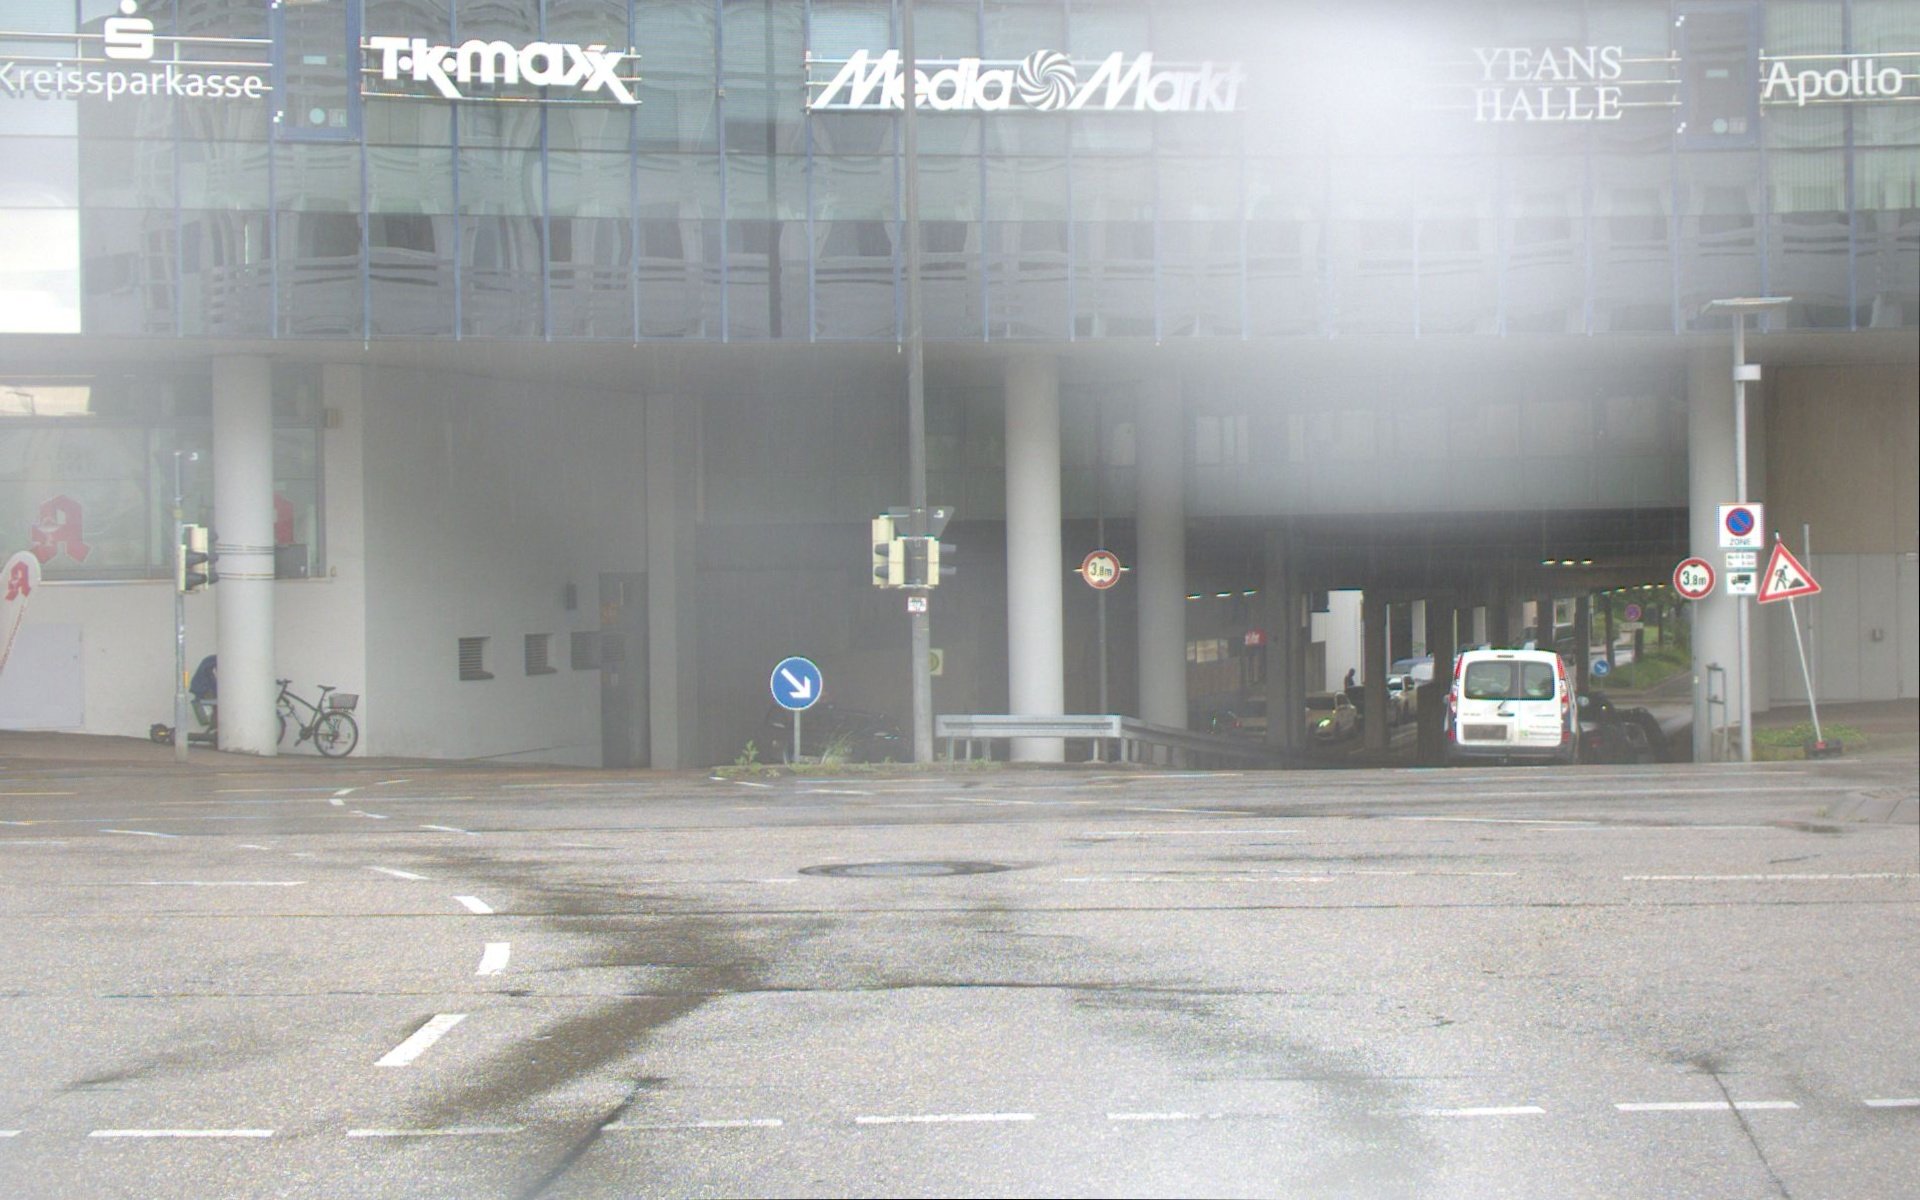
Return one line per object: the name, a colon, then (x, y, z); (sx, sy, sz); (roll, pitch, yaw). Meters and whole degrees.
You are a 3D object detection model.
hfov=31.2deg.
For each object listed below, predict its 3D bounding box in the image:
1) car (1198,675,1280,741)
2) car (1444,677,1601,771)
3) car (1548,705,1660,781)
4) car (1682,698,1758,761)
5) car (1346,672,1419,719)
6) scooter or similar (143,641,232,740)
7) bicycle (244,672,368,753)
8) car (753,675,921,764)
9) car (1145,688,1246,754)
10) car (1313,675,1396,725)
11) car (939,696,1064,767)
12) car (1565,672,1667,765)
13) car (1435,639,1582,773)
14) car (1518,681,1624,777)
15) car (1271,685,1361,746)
car: (7.828, 2.999, 96.097); (1.837, 1.722, 3.998); (-1, 0, 11)
car: (9.242, 2.060, 56.307); (1.759, 1.459, 3.938); (-2, -3, 21)
car: (12.374, 2.762, 65.899); (1.781, 1.396, 3.996); (-1, -3, 15)
car: (20.119, 3.397, 90.908); (1.889, 1.486, 3.838); (1, 0, 13)
car: (14.090, 3.166, 114.605); (1.994, 1.459, 3.998); (-1, 0, 13)
scooter or similar: (-10.836, 1.270, 48.216); (1.166, 1.368, 0.489); (1, 0, -15)
bicycle: (-9.265, 1.596, 48.716); (1.581, 1.014, 0.452); (6, -2, -31)
car: (-2.195, 2.198, 62.503); (1.894, 1.465, 4.023); (-1, -4, 16)
car: (6.284, 3.199, 91.299); (1.916, 1.582, 3.936); (-1, -1, 15)
car: (12.593, 3.167, 109.522); (1.995, 1.459, 3.997); (-1, -1, 15)
car: (0.926, 2.844, 74.437); (1.772, 1.459, 3.872); (-1, -2, 15)
car: (13.540, 2.416, 70.814); (1.792, 1.764, 3.997); (-1, -1, 14)
car: (7.796, 1.485, 48.611); (1.926, 1.791, 4.294); (-1, -1, 10)
car: (10.876, 2.324, 61.043); (1.634, 1.606, 4.259); (-2, -3, 12)
car: (10.571, 3.403, 101.885); (1.995, 1.658, 3.997); (1, 0, 15)
